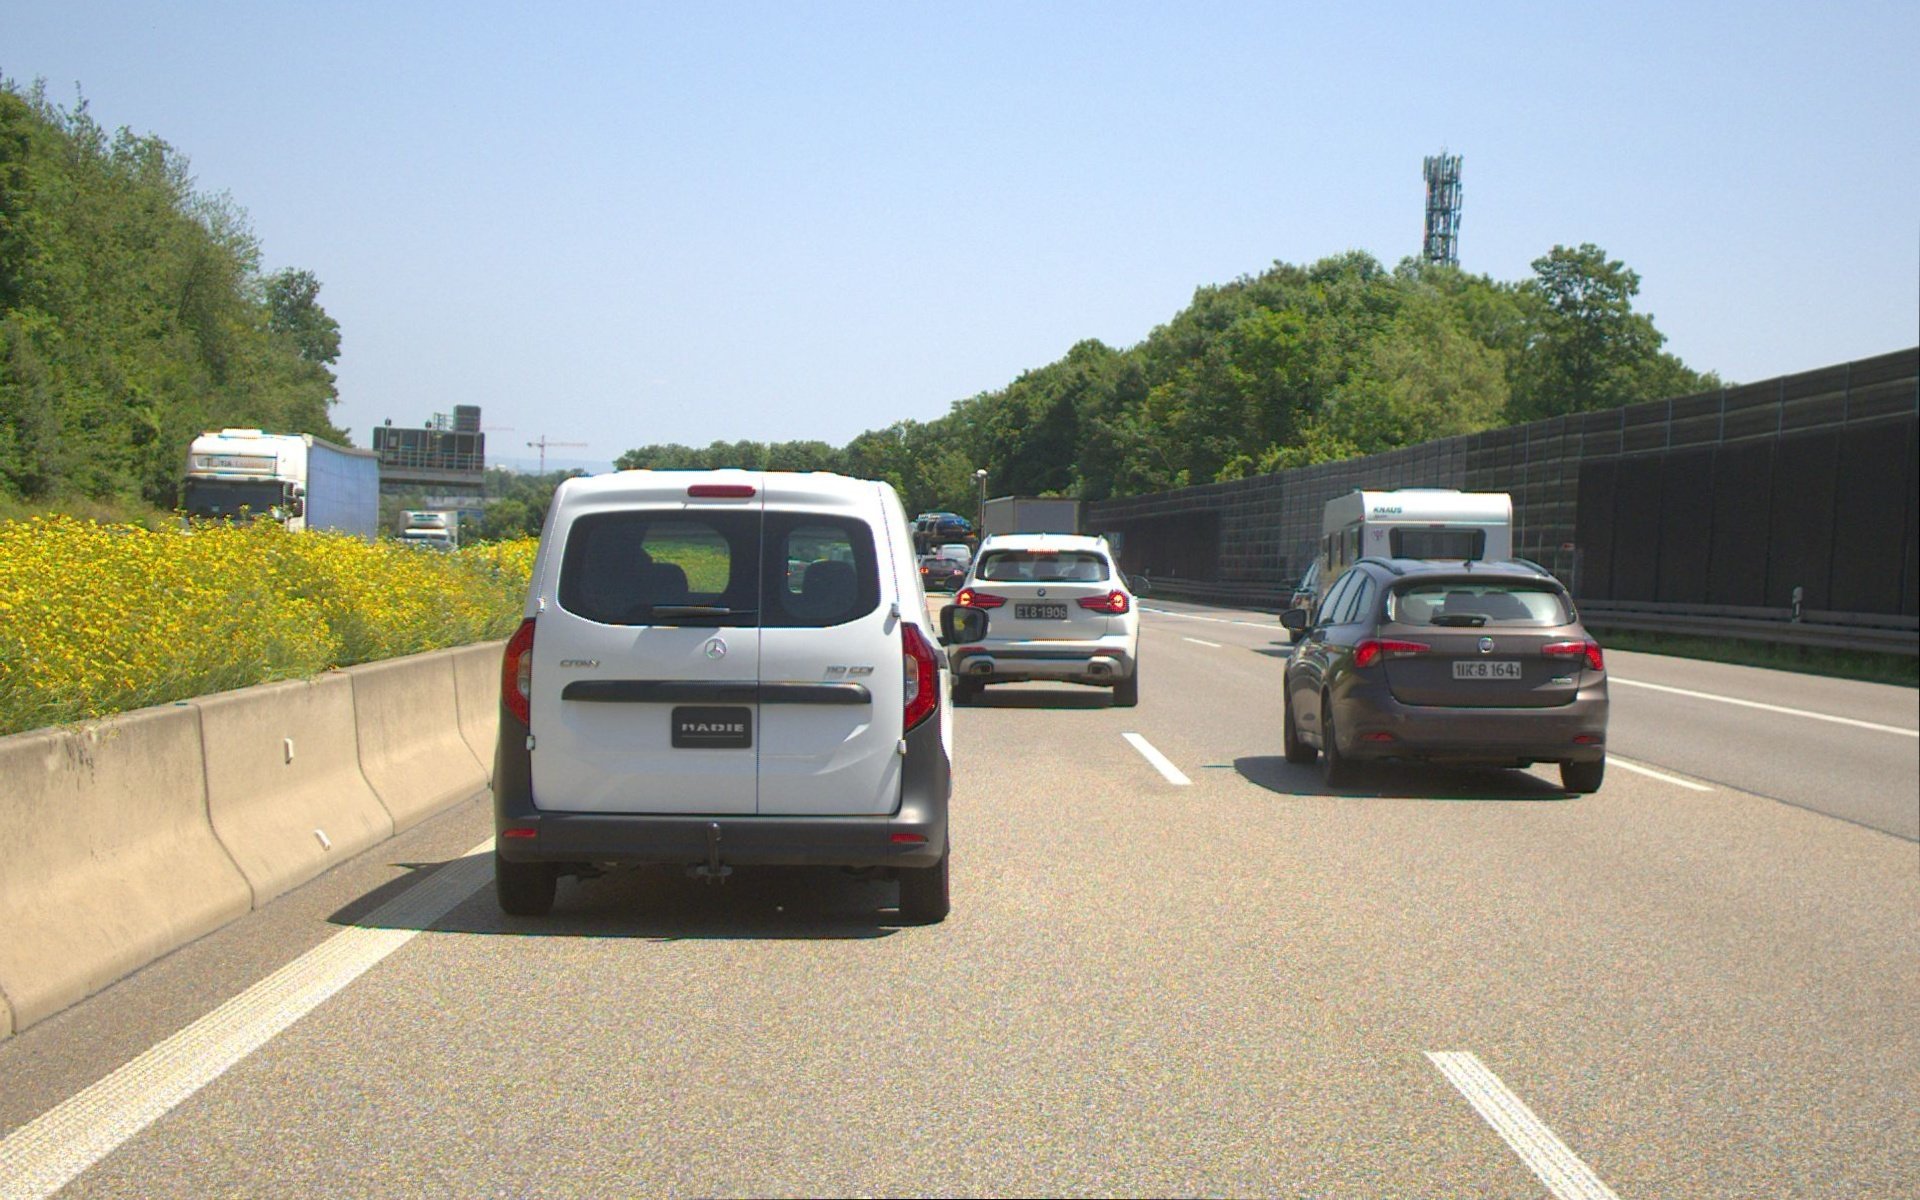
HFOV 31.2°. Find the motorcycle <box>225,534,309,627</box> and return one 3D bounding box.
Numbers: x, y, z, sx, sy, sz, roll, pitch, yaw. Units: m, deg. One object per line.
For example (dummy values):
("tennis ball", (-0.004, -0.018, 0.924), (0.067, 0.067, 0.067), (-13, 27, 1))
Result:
("motorcycle", (-7.990, -0.235, 39.693), (0.667, 1.038, 1.476), (1, 1, -1))

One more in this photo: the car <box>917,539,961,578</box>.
("car", (-1.124, -2.196, 182.495), (1.993, 2.007, 4.001), (1, 1, -5))

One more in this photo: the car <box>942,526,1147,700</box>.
("car", (0.794, 0.084, 34.618), (1.871, 1.603, 3.879), (2, 1, -1))

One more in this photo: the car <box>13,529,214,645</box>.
("car", (-11.525, -0.207, 47.050), (1.804, 1.484, 4.000), (1, 1, -1))

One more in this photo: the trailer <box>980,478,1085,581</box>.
("trailer", (2.860, -2.791, 139.188), (3.081, 3.972, 10.325), (1, 0, -5))

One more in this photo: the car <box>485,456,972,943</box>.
("car", (-0.896, 0.351, 14.913), (1.802, 1.802, 4.000), (1, 1, -1))

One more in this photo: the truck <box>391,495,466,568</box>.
("truck", (-26.443, -3.393, 171.279), (2.735, 3.463, 7.315), (1, 1, -2))

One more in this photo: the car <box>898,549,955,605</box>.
("car", (-1.315, -0.910, 133.446), (1.824, 1.982, 4.001), (2, 2, -5))

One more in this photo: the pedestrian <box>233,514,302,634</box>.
("pedestrian", (-7.987, -0.298, 39.678), (0.662, 1.360, 0.532), (1, 1, -1))

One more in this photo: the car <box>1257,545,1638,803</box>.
("car", (3.149, 0.414, 23.087), (1.838, 1.508, 4.402), (2, 1, -1))

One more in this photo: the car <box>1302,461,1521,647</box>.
("car", (7.124, -0.717, 54.982), (2.478, 2.756, 6.220), (1, 0, -2))

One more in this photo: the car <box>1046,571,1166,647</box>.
("car", (2.853, 0.151, 67.957), (1.824, 1.419, 4.001), (1, 0, -5))

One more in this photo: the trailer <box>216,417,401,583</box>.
("trailer", (-16.199, -2.441, 86.171), (2.781, 3.844, 10.171), (1, 1, -1))

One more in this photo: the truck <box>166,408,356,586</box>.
("truck", (-16.082, -2.329, 79.663), (2.748, 3.844, 8.414), (1, 1, -1))

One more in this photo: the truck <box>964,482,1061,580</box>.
("truck", (2.181, -2.904, 146.886), (3.081, 3.972, 9.648), (1, 0, -5))
